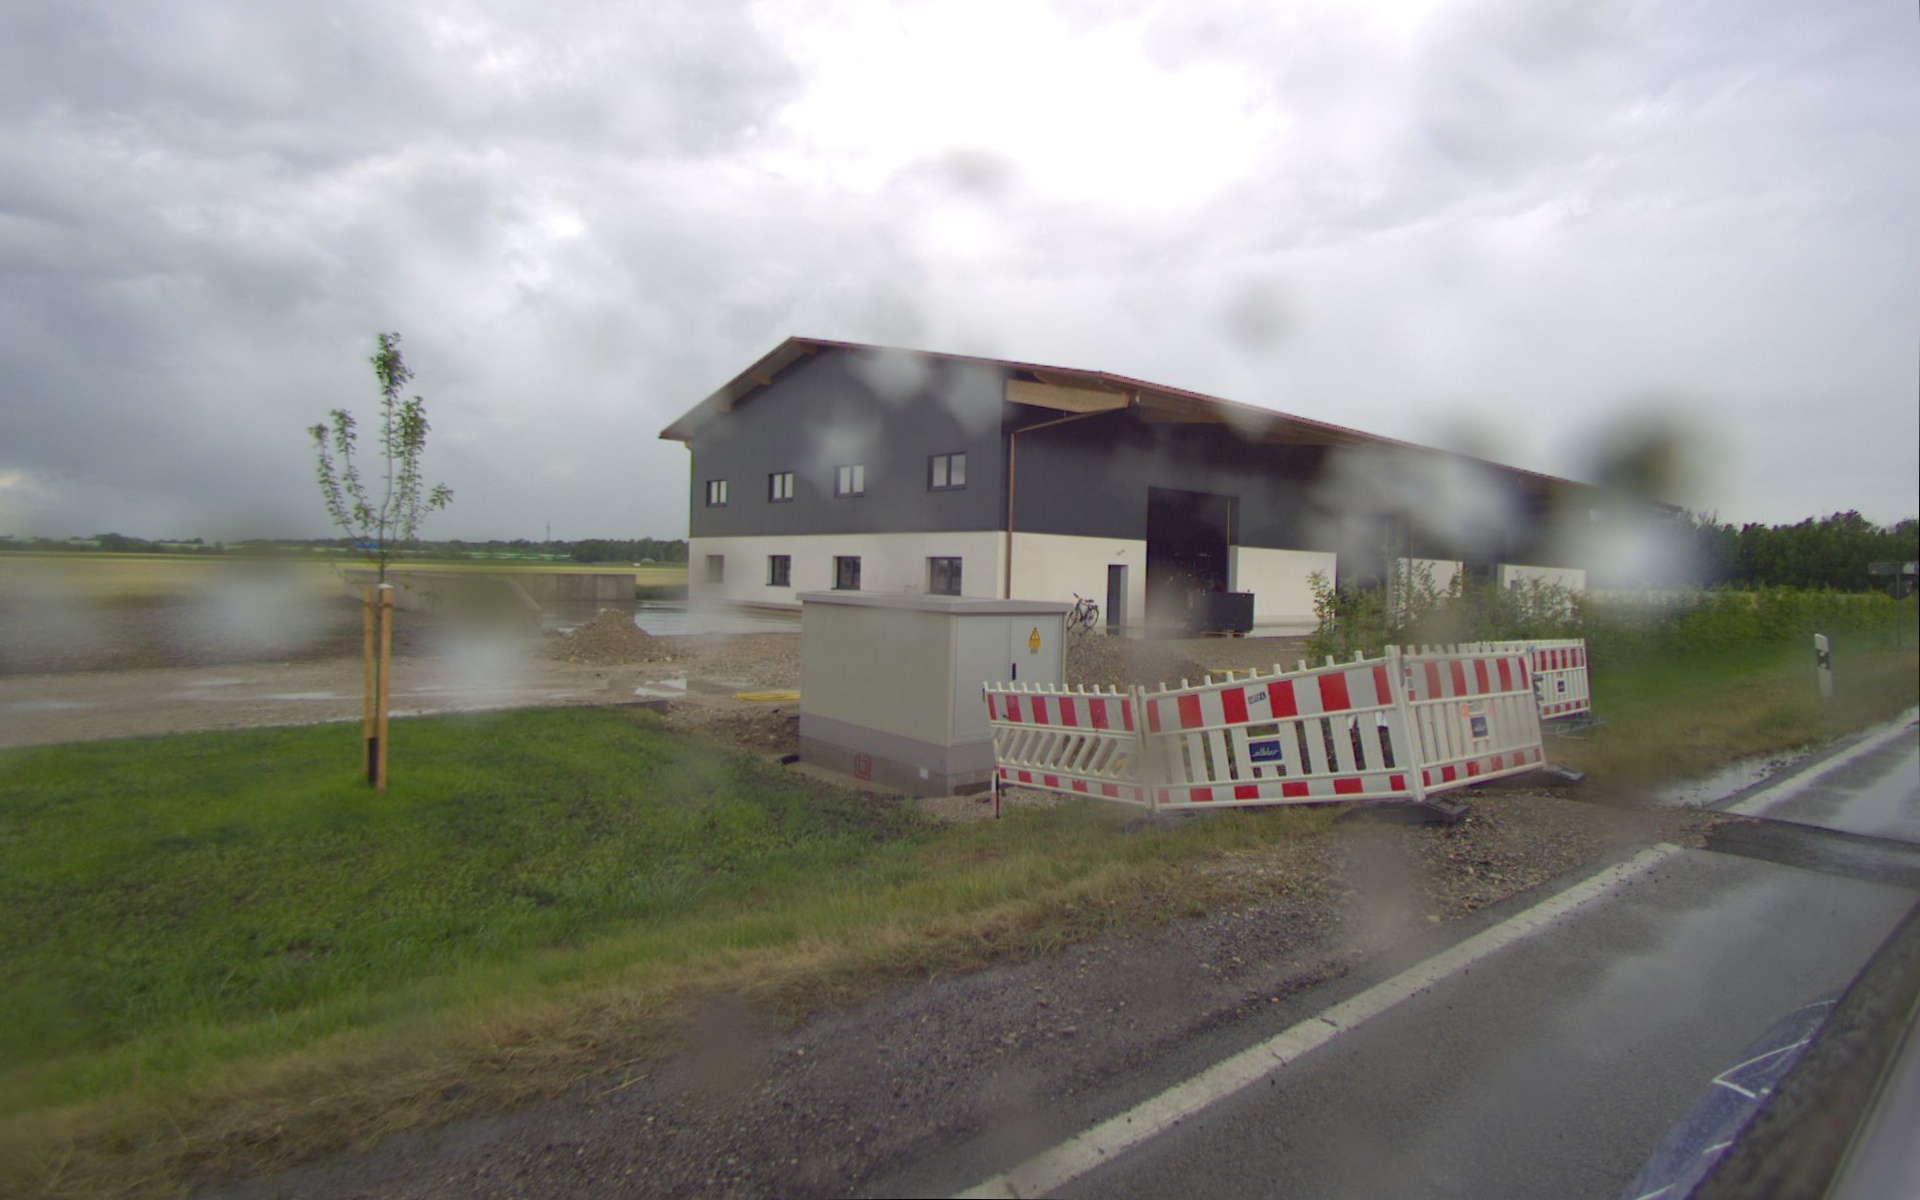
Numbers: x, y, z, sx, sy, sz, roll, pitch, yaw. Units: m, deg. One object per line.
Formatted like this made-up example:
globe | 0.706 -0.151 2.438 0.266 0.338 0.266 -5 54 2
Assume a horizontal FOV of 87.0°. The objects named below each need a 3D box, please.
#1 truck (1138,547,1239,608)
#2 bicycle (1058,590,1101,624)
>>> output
truck | 12.042 -1.179 53.178 5.250 3.050 2.495 0 2 -41
bicycle | 3.990 0.216 33.658 1.631 1.085 0.391 0 2 -41
